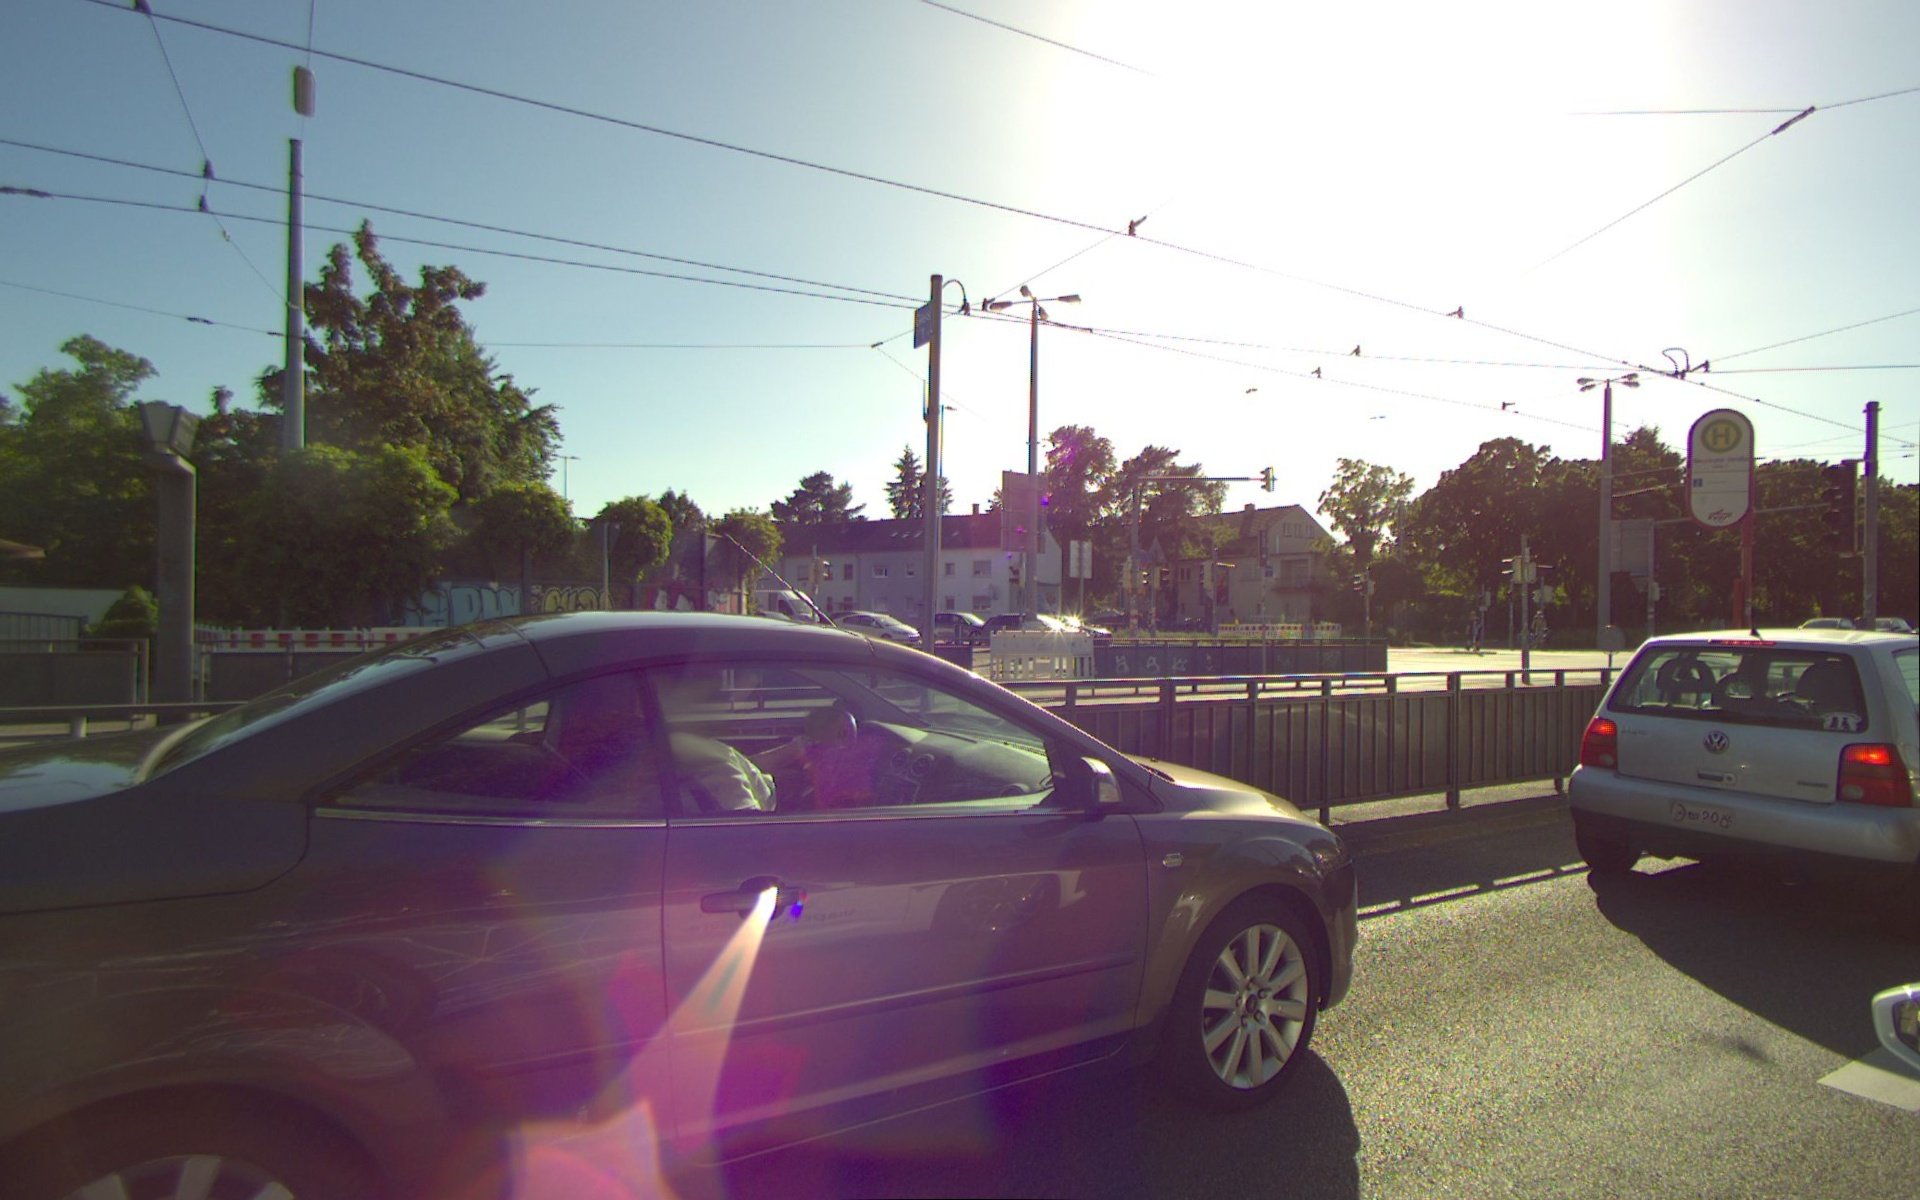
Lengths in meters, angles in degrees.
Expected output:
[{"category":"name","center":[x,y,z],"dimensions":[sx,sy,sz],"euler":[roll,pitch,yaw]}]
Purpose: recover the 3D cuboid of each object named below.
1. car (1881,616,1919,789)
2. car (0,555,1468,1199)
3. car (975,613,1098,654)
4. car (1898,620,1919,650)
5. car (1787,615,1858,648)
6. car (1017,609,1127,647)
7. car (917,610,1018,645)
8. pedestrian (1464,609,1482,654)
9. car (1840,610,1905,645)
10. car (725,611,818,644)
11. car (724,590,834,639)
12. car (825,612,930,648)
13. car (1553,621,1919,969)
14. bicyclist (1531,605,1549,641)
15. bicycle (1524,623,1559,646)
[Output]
[{"category":"car","center":[10.802,0.948,9.597],"dimensions":[4.371,1.548,1.867],"euler":[1,-1,-32]},{"category":"car","center":[-0.401,0.749,3.137],"dimensions":[4.150,1.555,1.740],"euler":[1,-1,-33]},{"category":"car","center":[2.956,1.270,39.311],"dimensions":[4.556,1.496,1.668],"euler":[0,-1,32]},{"category":"car","center":[53.615,1.920,55.482],"dimensions":[4.647,1.617,1.801],"euler":[1,-1,-36]},{"category":"car","center":[40.948,1.487,47.685],"dimensions":[3.665,1.478,1.673],"euler":[1,-1,-34]},{"category":"car","center":[4.710,1.147,42.324],"dimensions":[4.175,1.486,1.933],"euler":[0,0,32]},{"category":"car","center":[0.327,1.199,45.634],"dimensions":[4.185,1.486,1.933],"euler":[0,0,32]},{"category":"pedestrian","center":[22.902,1.391,44.839],"dimensions":[0.599,1.974,0.776],"euler":[0,0,16]},{"category":"car","center":[46.601,1.402,51.277],"dimensions":[3.964,1.710,1.778],"euler":[1,-1,-37]},{"category":"car","center":[-8.982,1.297,47.776],"dimensions":[4.185,1.486,1.933],"euler":[0,-1,32]},{"category":"car","center":[-9.544,0.748,52.697],"dimensions":[5.823,2.443,2.174],"euler":[0,-1,35]},{"category":"car","center":[-3.605,1.270,43.697],"dimensions":[4.290,1.486,1.933],"euler":[0,-1,32]},{"category":"car","center":[5.218,0.887,5.945],"dimensions":[3.376,1.488,1.573],"euler":[1,0,-32]},{"category":"bicyclist","center":[26.646,1.038,46.143],"dimensions":[0.641,1.629,0.487],"euler":[1,-1,-31]},{"category":"bicycle","center":[26.756,1.571,46.211],"dimensions":[1.926,1.056,0.504],"euler":[1,-1,-31]}]
